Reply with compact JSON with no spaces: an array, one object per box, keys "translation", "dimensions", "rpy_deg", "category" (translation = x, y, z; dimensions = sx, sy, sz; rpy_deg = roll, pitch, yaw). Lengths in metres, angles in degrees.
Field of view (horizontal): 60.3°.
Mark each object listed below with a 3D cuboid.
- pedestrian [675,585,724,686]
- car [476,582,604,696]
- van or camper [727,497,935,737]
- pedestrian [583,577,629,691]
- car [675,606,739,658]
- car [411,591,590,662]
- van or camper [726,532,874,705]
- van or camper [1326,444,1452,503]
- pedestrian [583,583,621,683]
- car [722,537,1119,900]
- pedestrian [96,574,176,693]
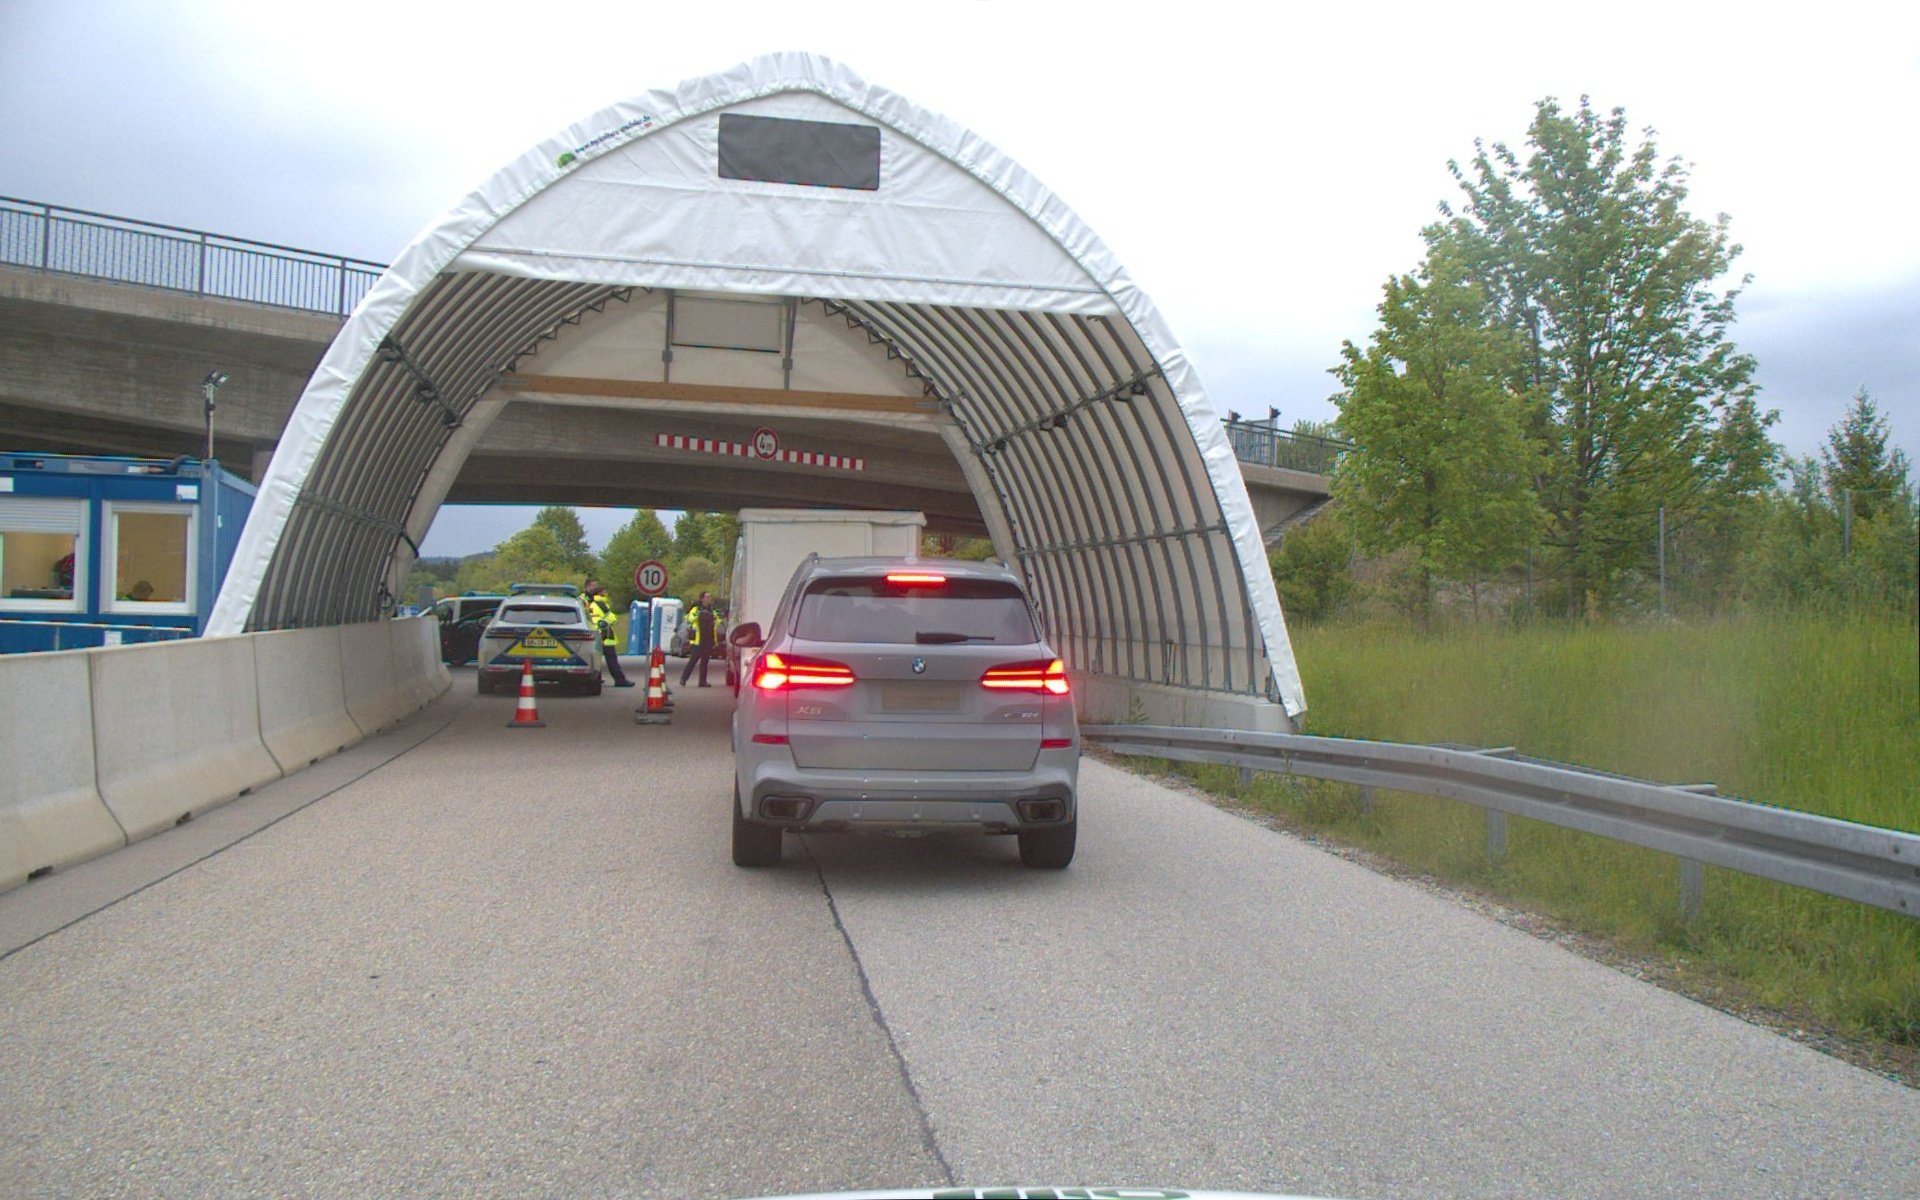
[{"translation":[-4.611,0.618,29.252],"dimensions":[0.767,1.752,0.753],"rpy_deg":[0,-1,-17],"category":"pedestrian"},{"translation":[-6.761,0.589,26.641],"dimensions":[1.846,1.675,3.984],"rpy_deg":[0,0,-15],"category":"car"},{"translation":[-1.859,0.203,21.376],"dimensions":[2.189,2.597,6.597],"rpy_deg":[0,0,-9],"category":"van or camper"},{"translation":[-6.178,0.591,28.835],"dimensions":[0.736,1.952,0.760],"rpy_deg":[0,-1,-15],"category":"pedestrian"},{"translation":[-8.953,1.106,58.318],"dimensions":[1.959,1.752,3.883],"rpy_deg":[0,0,-13],"category":"car"},{"translation":[-13.505,0.764,48.720],"dimensions":[4.703,2.049,1.842],"rpy_deg":[0,-1,7],"category":"car"},{"translation":[-2.768,0.299,27.437],"dimensions":[2.065,2.563,5.538],"rpy_deg":[0,0,-10],"category":"van or camper"},{"translation":[16.373,-4.784,62.994],"dimensions":[5.400,1.801,1.869],"rpy_deg":[1,-1,-40],"category":"van or camper"},{"translation":[-6.436,0.590,29.782],"dimensions":[0.597,1.784,0.665],"rpy_deg":[0,-1,-6],"category":"pedestrian"},{"translation":[-0.465,0.598,10.328],"dimensions":[1.957,1.796,3.991],"rpy_deg":[0,0,-9],"category":"car"},{"translation":[-9.853,0.394,19.791],"dimensions":[0.597,1.397,0.628],"rpy_deg":[0,-1,8],"category":"pedestrian"}]
